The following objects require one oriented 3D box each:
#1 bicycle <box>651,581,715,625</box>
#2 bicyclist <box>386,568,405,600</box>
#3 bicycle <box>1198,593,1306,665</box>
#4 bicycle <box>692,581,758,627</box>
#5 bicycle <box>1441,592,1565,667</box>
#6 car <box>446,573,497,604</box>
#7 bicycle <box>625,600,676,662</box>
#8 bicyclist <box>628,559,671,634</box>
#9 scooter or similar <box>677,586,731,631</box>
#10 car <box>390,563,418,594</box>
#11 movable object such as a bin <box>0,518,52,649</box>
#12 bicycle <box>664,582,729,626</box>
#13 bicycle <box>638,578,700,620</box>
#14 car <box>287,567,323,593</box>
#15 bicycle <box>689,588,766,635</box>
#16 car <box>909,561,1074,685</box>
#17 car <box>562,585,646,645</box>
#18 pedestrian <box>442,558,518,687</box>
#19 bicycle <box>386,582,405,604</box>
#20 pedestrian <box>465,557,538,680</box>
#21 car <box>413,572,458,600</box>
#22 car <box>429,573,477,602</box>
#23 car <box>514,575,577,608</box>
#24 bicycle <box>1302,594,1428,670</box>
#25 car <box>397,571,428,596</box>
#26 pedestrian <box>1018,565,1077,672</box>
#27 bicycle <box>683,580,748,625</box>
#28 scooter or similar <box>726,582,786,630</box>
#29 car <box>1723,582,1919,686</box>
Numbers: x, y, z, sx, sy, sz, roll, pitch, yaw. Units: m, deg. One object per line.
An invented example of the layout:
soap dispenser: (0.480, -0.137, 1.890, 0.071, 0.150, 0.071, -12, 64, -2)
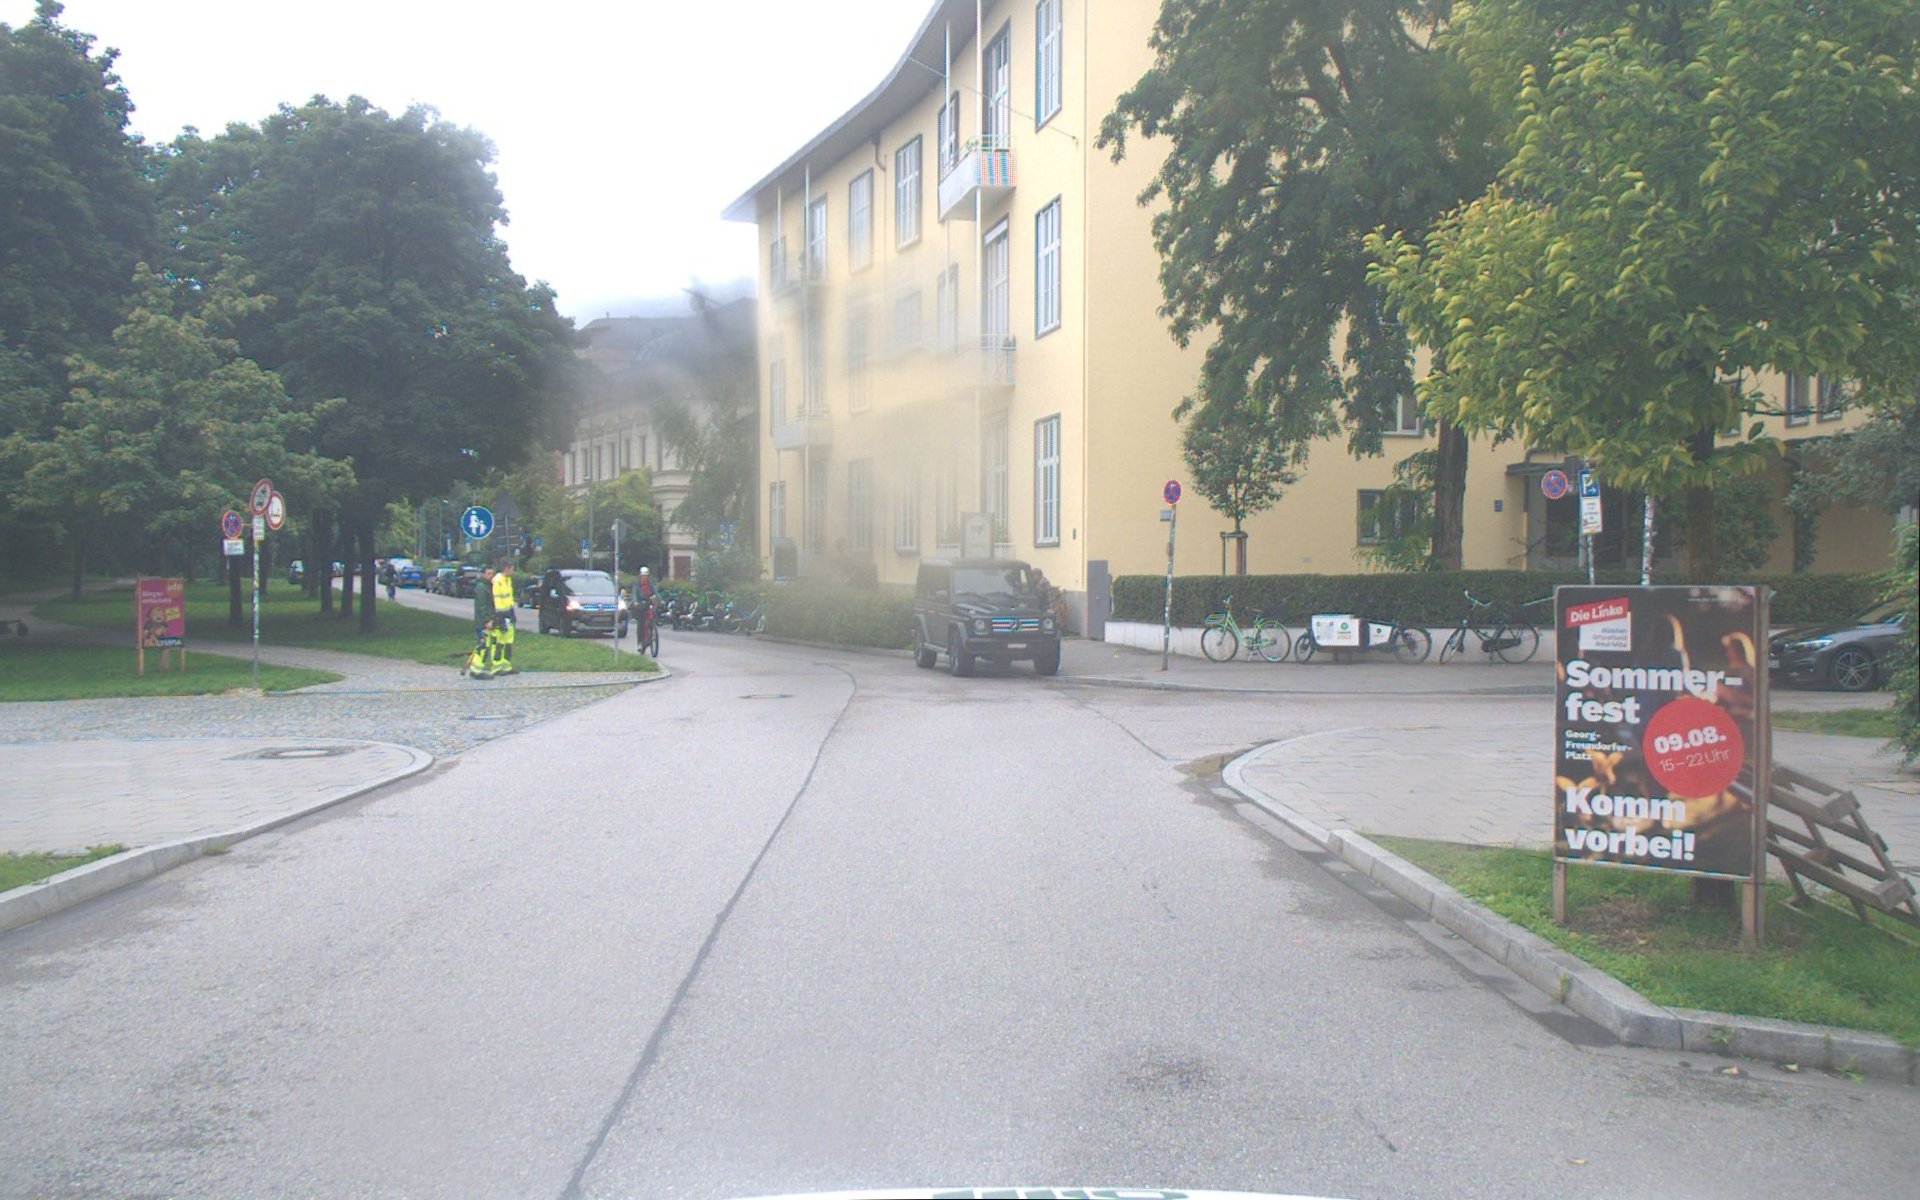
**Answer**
bicycle: (-8.733, 0.082, 52.167, 0.719, 1.328, 2.149, 0, 1, 34)
bicyclist: (-26.708, -0.745, 78.243, 0.785, 1.496, 0.886, 0, 1, -26)
bicycle: (5.188, 0.498, 29.497, 1.896, 1.222, 0.591, 1, 1, 45)
bicycle: (-7.050, 0.097, 49.705, 0.719, 1.328, 2.149, 0, 1, 34)
bicycle: (9.106, 0.487, 27.759, 1.881, 1.222, 0.595, 0, 1, 3)
car: (-26.781, -0.630, 90.609, 1.971, 1.634, 3.964, -1, 1, -28)
bicycle: (-6.574, 0.638, 35.042, 0.732, 1.236, 2.132, -1, 1, -20)
bicyclist: (-6.582, -0.075, 35.050, 0.732, 1.547, 0.940, -1, 1, -20)
scooter or similar: (-7.884, 0.251, 50.924, 0.718, 1.328, 1.727, 0, 1, 30)
car: (-41.333, -1.596, 122.984, 1.963, 2.197, 3.979, 0, 0, -18)
movable object such as a bin: (-25.087, -0.393, 41.079, 1.958, 3.269, 3.989, 0, 1, 33)
bicycle: (-8.188, 0.122, 51.487, 0.719, 1.328, 2.149, 0, 1, 34)
bicycle: (-9.462, -0.059, 53.896, 0.719, 1.328, 2.149, 0, 1, 34)
car: (-44.212, -1.362, 111.598, 1.969, 1.720, 3.967, -1, 1, -26)
bicycle: (-6.692, 0.319, 47.606, 2.135, 1.328, 0.724, -1, 1, -39)
car: (0.468, 0.338, 29.153, 1.733, 1.907, 4.363, 4, 0, -14)
car: (-9.660, 0.363, 44.682, 1.884, 1.496, 3.981, 0, 1, -17)
pedestrian: (-7.801, 0.350, 26.894, 0.912, 2.049, 0.957, 0, 1, 3)
bicycle: (-26.711, -0.349, 78.250, 0.631, 0.984, 1.979, 0, 1, -25)
pedestrian: (-7.736, 0.300, 27.932, 0.912, 2.049, 0.957, 0, 1, 3)
car: (-31.900, -0.843, 100.558, 1.971, 1.634, 3.964, -1, 1, -28)
car: (-29.331, -0.737, 95.585, 1.971, 1.634, 3.964, -1, 1, -28)
car: (-18.313, -0.374, 72.965, 1.969, 1.396, 3.967, -1, 1, -26)
bicycle: (6.874, 0.529, 28.078, 2.025, 1.222, 0.595, 1, 1, 21)
car: (-37.889, -1.137, 114.512, 1.963, 1.634, 3.979, 0, 1, -18)
pedestrian: (1.534, 0.311, 29.223, 0.859, 1.855, 0.796, 0, 1, -13)
bicycle: (-7.468, 0.073, 50.550, 0.719, 1.328, 2.149, 0, 1, 34)
scooter or similar: (-5.737, 0.149, 46.714, 0.717, 1.328, 2.156, 0, 1, 22)
car: (13.718, 0.479, 24.374, 4.158, 1.471, 1.698, 0, -1, 1)
